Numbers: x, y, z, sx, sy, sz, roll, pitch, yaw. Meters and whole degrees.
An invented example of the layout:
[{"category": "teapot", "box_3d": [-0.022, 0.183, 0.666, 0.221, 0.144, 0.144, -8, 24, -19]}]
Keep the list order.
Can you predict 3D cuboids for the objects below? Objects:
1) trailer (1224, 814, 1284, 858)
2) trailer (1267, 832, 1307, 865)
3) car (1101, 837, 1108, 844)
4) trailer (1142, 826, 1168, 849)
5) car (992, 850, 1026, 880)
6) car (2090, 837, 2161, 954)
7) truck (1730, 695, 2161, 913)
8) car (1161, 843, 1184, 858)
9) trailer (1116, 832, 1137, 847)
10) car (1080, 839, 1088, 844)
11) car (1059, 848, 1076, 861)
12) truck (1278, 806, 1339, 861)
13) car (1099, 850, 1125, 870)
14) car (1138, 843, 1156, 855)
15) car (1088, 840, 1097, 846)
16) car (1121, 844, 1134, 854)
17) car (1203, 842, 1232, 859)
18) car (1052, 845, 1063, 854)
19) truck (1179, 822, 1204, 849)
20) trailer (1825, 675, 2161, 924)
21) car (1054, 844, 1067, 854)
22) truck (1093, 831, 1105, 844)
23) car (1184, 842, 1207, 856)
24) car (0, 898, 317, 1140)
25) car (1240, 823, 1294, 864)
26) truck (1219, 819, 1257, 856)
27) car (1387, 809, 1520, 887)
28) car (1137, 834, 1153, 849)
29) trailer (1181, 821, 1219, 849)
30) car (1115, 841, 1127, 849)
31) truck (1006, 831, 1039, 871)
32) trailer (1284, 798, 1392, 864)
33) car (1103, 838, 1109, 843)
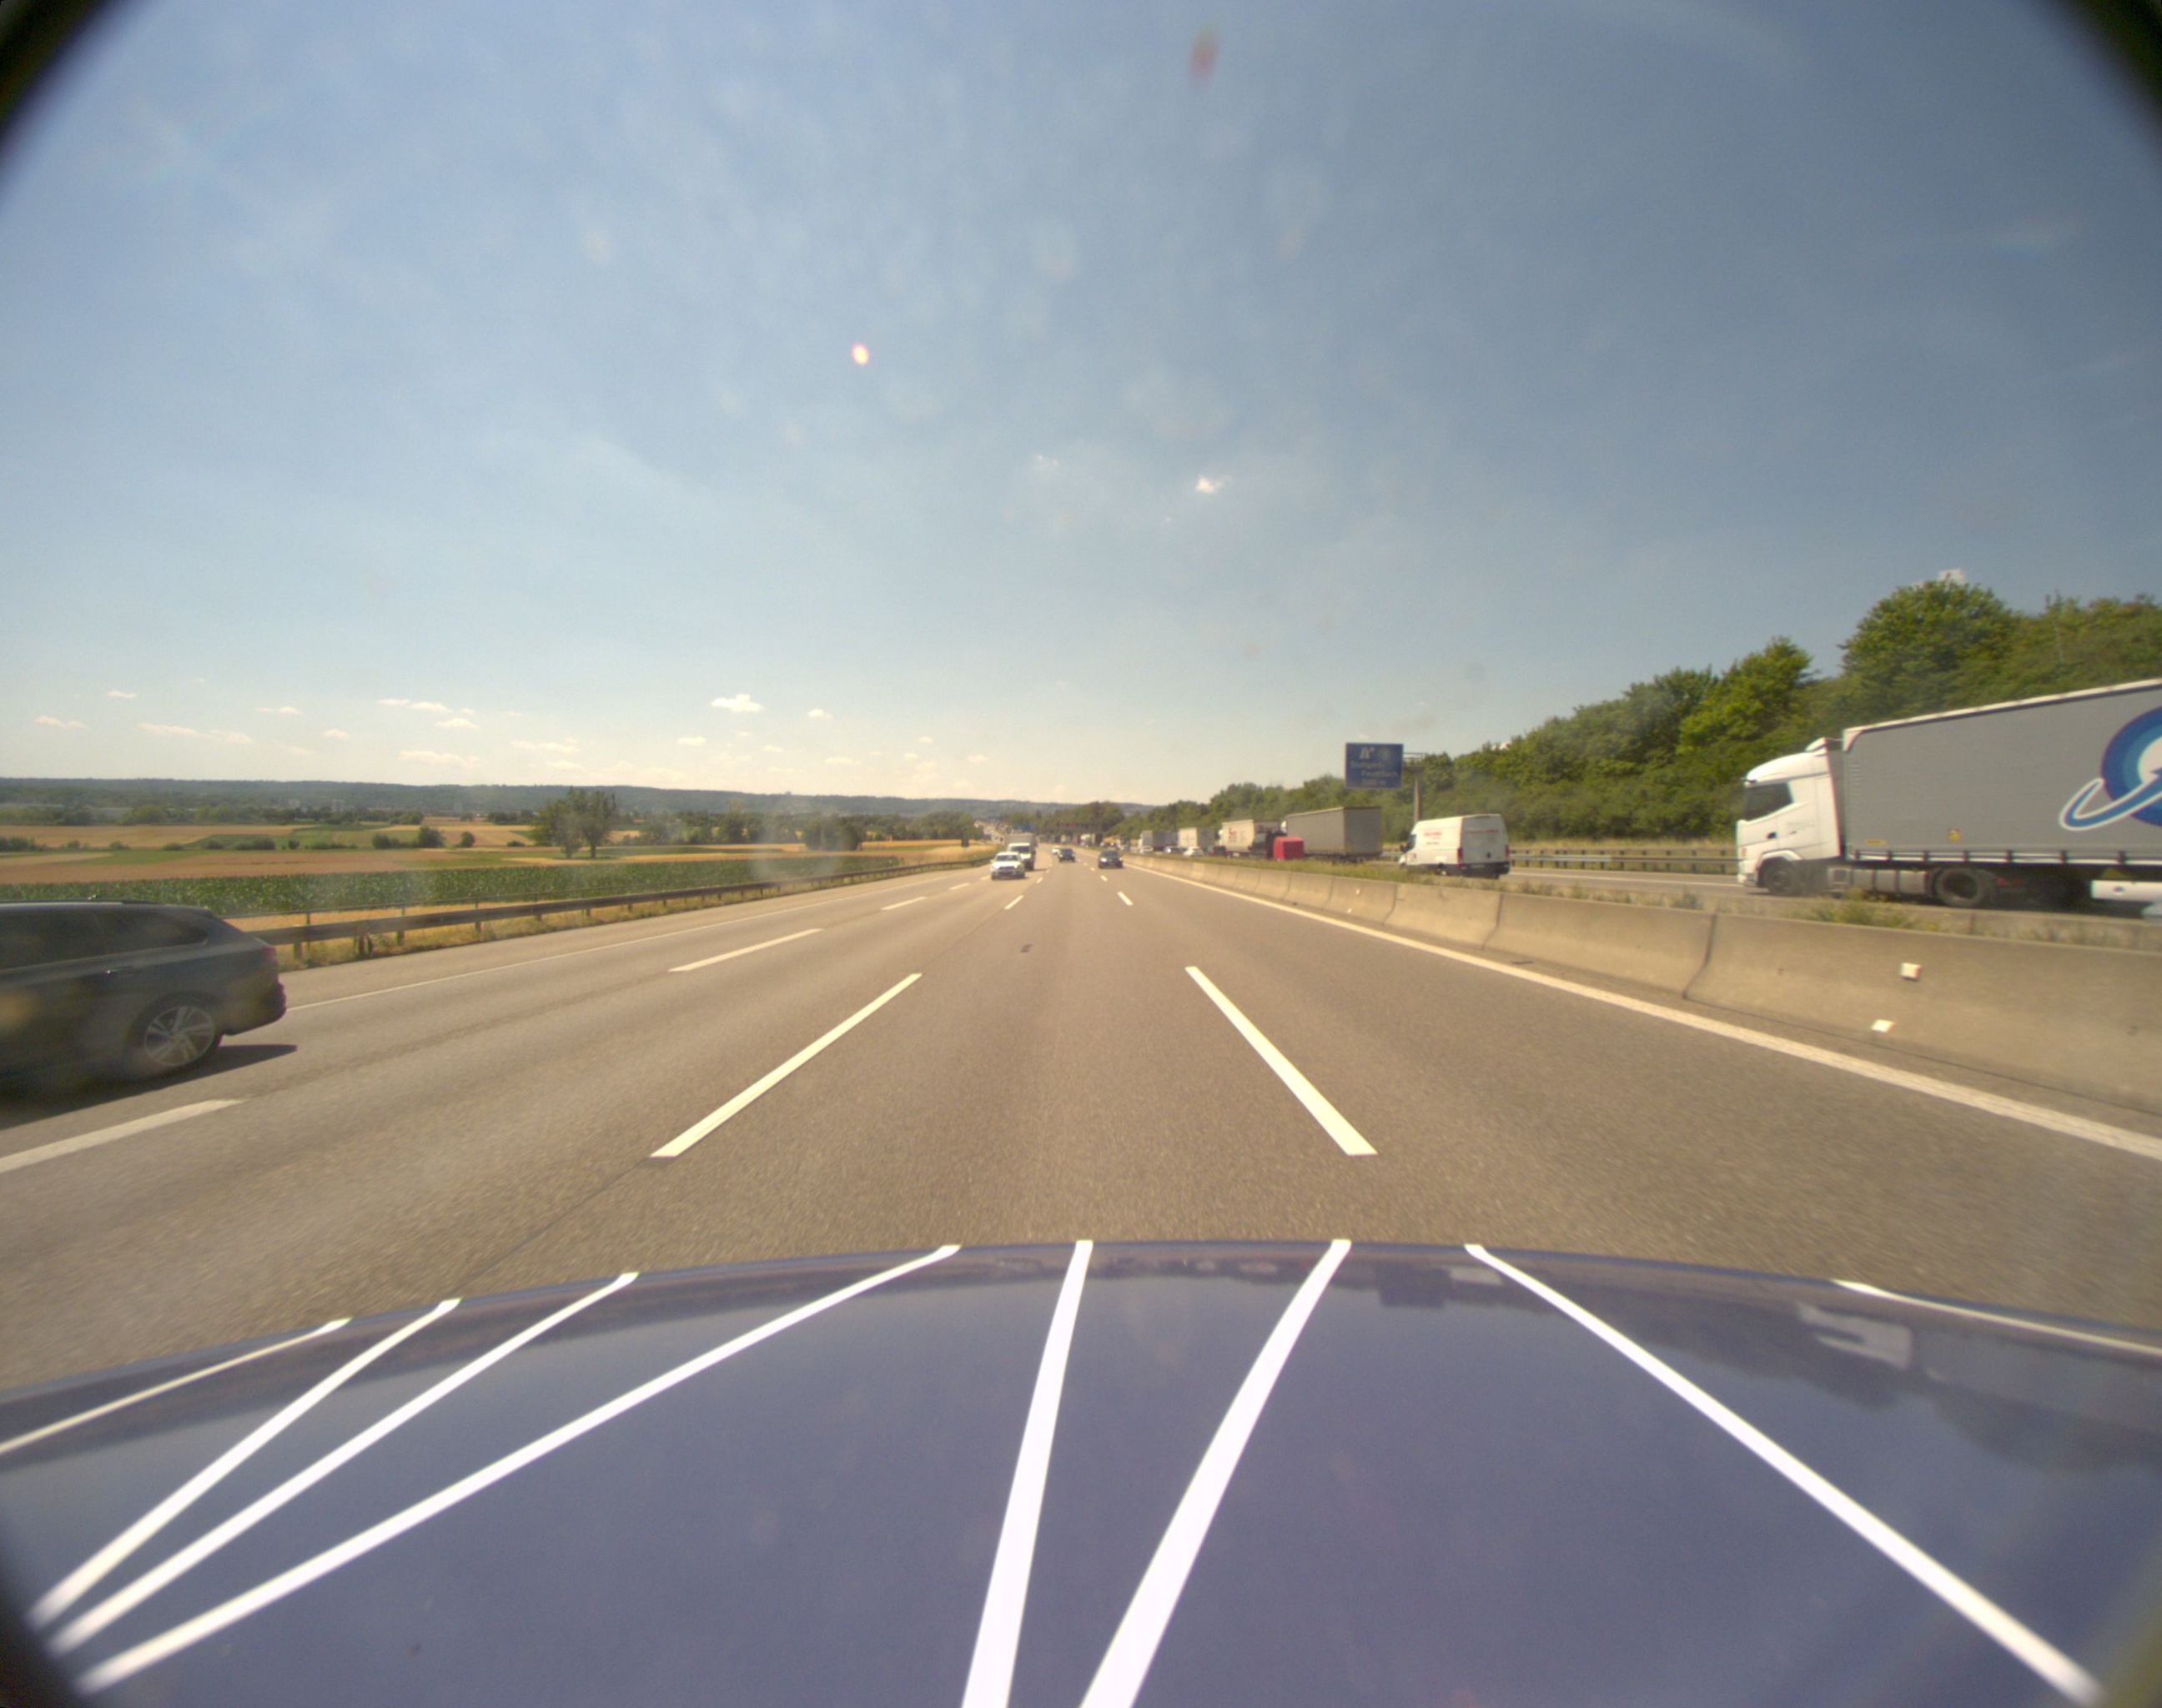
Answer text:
[{"category": "trailer", "box_3d": [18.281, -1.904, 81.658, 2.818, 4.254, 13.863, -2, 1, -2]}, {"category": "trailer", "box_3d": [14.610, -0.370, 54.071, 1.574, 2.240, 3.960, -1, 1, -3]}, {"category": "car", "box_3d": [6.335, -3.642, 205.745, 1.846, 1.668, 4.440, -1, 2, 1]}, {"category": "trailer", "box_3d": [14.938, -3.393, 154.561, 3.231, 4.396, 13.771, -1, 1, -3]}, {"category": "car", "box_3d": [-4.320, 0.632, 46.172, 1.837, 1.636, 4.170, -2, 1, -4]}, {"category": "car", "box_3d": [14.652, 0.577, 7.929, 1.756, 1.452, 4.856, -2, 2, 0]}, {"category": "truck", "box_3d": [19.167, -0.962, 17.474, 2.860, 4.013, 6.603, -1, 1, 0]}, {"category": "car", "box_3d": [10.462, -0.419, 87.288, 1.937, 1.679, 4.795, -1, 1, -1]}, {"category": "trailer", "box_3d": [10.035, -3.252, 169.025, 2.878, 3.166, 10.720, -2, 2, -5]}, {"category": "car", "box_3d": [0.873, -3.667, 224.756, 1.999, 1.437, 4.789, -2, 2, -5]}, {"category": "car", "box_3d": [-1.596, 0.016, 89.510, 1.866, 1.426, 3.997, -1, 2, -3]}, {"category": "truck", "box_3d": [18.662, -1.683, 62.865, 2.969, 4.186, 6.602, -2, 1, 0]}, {"category": "car", "box_3d": [2.479, 0.464, 61.530, 1.808, 1.534, 4.749, -1, -1, -1]}, {"category": "car", "box_3d": [9.453, -0.757, 109.233, 1.999, 1.634, 4.404, -2, 2, -2]}, {"category": "car", "box_3d": [3.236, -3.107, 209.006, 1.999, 1.512, 4.304, -1, 2, -5]}, {"category": "car", "box_3d": [8.354, -0.891, 136.773, 1.999, 1.570, 4.593, -2, 1, -2]}, {"category": "car", "box_3d": [14.443, -0.407, 80.710, 1.999, 1.706, 4.790, -1, 1, -2]}, {"category": "car", "box_3d": [-4.467, -0.915, 144.008, 1.999, 1.467, 3.997, -2, 2, -5]}, {"category": "truck", "box_3d": [17.255, -2.866, 119.196, 2.856, 3.984, 5.972, -2, 1, -2]}, {"category": "trailer", "box_3d": [19.090, -0.903, 10.904, 2.910, 4.062, 14.443, -1, 1, 1]}, {"category": "car", "box_3d": [-2.999, -0.736, 113.336, 1.866, 1.322, 3.998, -1, 2, 0]}, {"category": "truck", "box_3d": [5.848, -5.439, 250.665, 3.018, 3.895, 10.348, -1, 2, -4]}, {"category": "car", "box_3d": [13.764, -0.618, 91.682, 1.886, 1.466, 4.404, -2, 2, -2]}, {"category": "car", "box_3d": [-8.046, 1.193, 4.825, 1.766, 1.462, 4.535, -2, 1, -1]}, {"category": "car", "box_3d": [14.428, -0.782, 59.300, 2.243, 2.997, 6.548, -1, 1, -3]}, {"category": "truck", "box_3d": [18.073, -1.852, 87.659, 2.762, 4.020, 6.096, -2, 1, -2]}, {"category": "car", "box_3d": [14.986, -0.326, 31.156, 2.145, 2.770, 6.622, -2, 2, 0]}, {"category": "car", "box_3d": [11.793, -2.296, 140.454, 1.902, 2.559, 7.569, -2, 1, -2]}, {"category": "trailer", "box_3d": [17.515, -2.778, 112.722, 2.911, 3.851, 13.870, -2, 1, -2]}, {"category": "car", "box_3d": [9.356, -2.121, 176.605, 2.113, 1.713, 4.927, -1, 2, -5]}, {"category": "truck", "box_3d": [-4.885, -0.328, 63.234, 2.446, 3.011, 6.911, -2, 2, -5]}, {"category": "trailer", "box_3d": [18.780, -1.657, 56.932, 2.990, 4.182, 14.188, -2, 1, -1]}, {"category": "car", "box_3d": [7.908, -4.311, 236.898, 1.751, 1.397, 4.210, -1, 2, 0]}]
